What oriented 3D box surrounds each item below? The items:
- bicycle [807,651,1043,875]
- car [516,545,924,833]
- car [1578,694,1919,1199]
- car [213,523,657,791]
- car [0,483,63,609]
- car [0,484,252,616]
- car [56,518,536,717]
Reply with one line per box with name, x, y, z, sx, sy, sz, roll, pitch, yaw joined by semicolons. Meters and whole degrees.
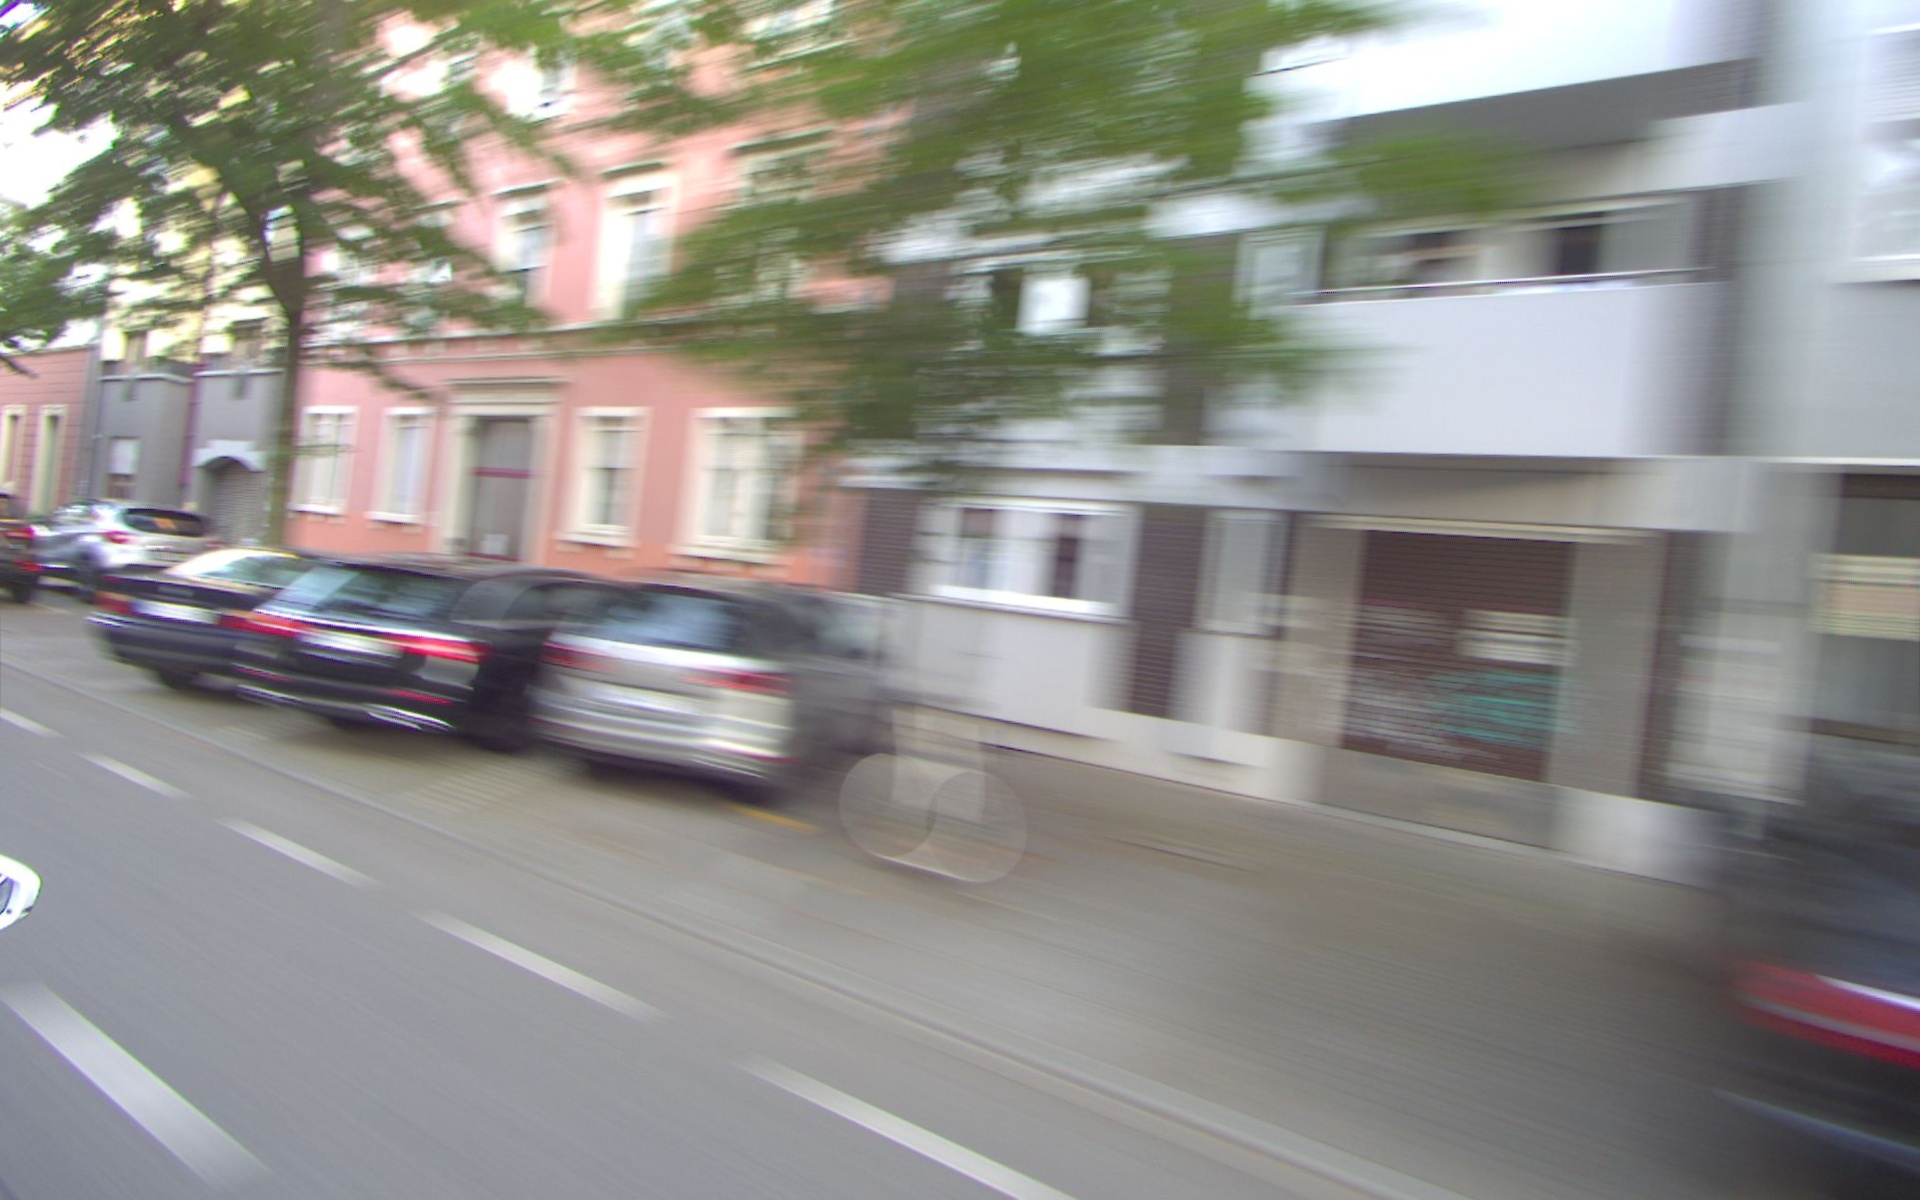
bicycle;-0.150;0.969;6.561;0.718;1.158;1.800;7;0;24
car;-1.658;0.613;8.474;1.687;1.613;4.002;8;0;11
car;3.700;1.273;3.843;1.689;1.482;4.387;7;0;26
car;-4.121;0.384;8.746;1.689;1.572;3.972;8;0;-2
car;-14.634;-0.940;14.107;4.191;1.639;1.881;7;1;31
car;-13.483;-0.815;16.191;3.953;1.603;1.883;7;-1;31
car;-6.252;0.214;10.207;1.590;1.404;4.267;7;-1;6
